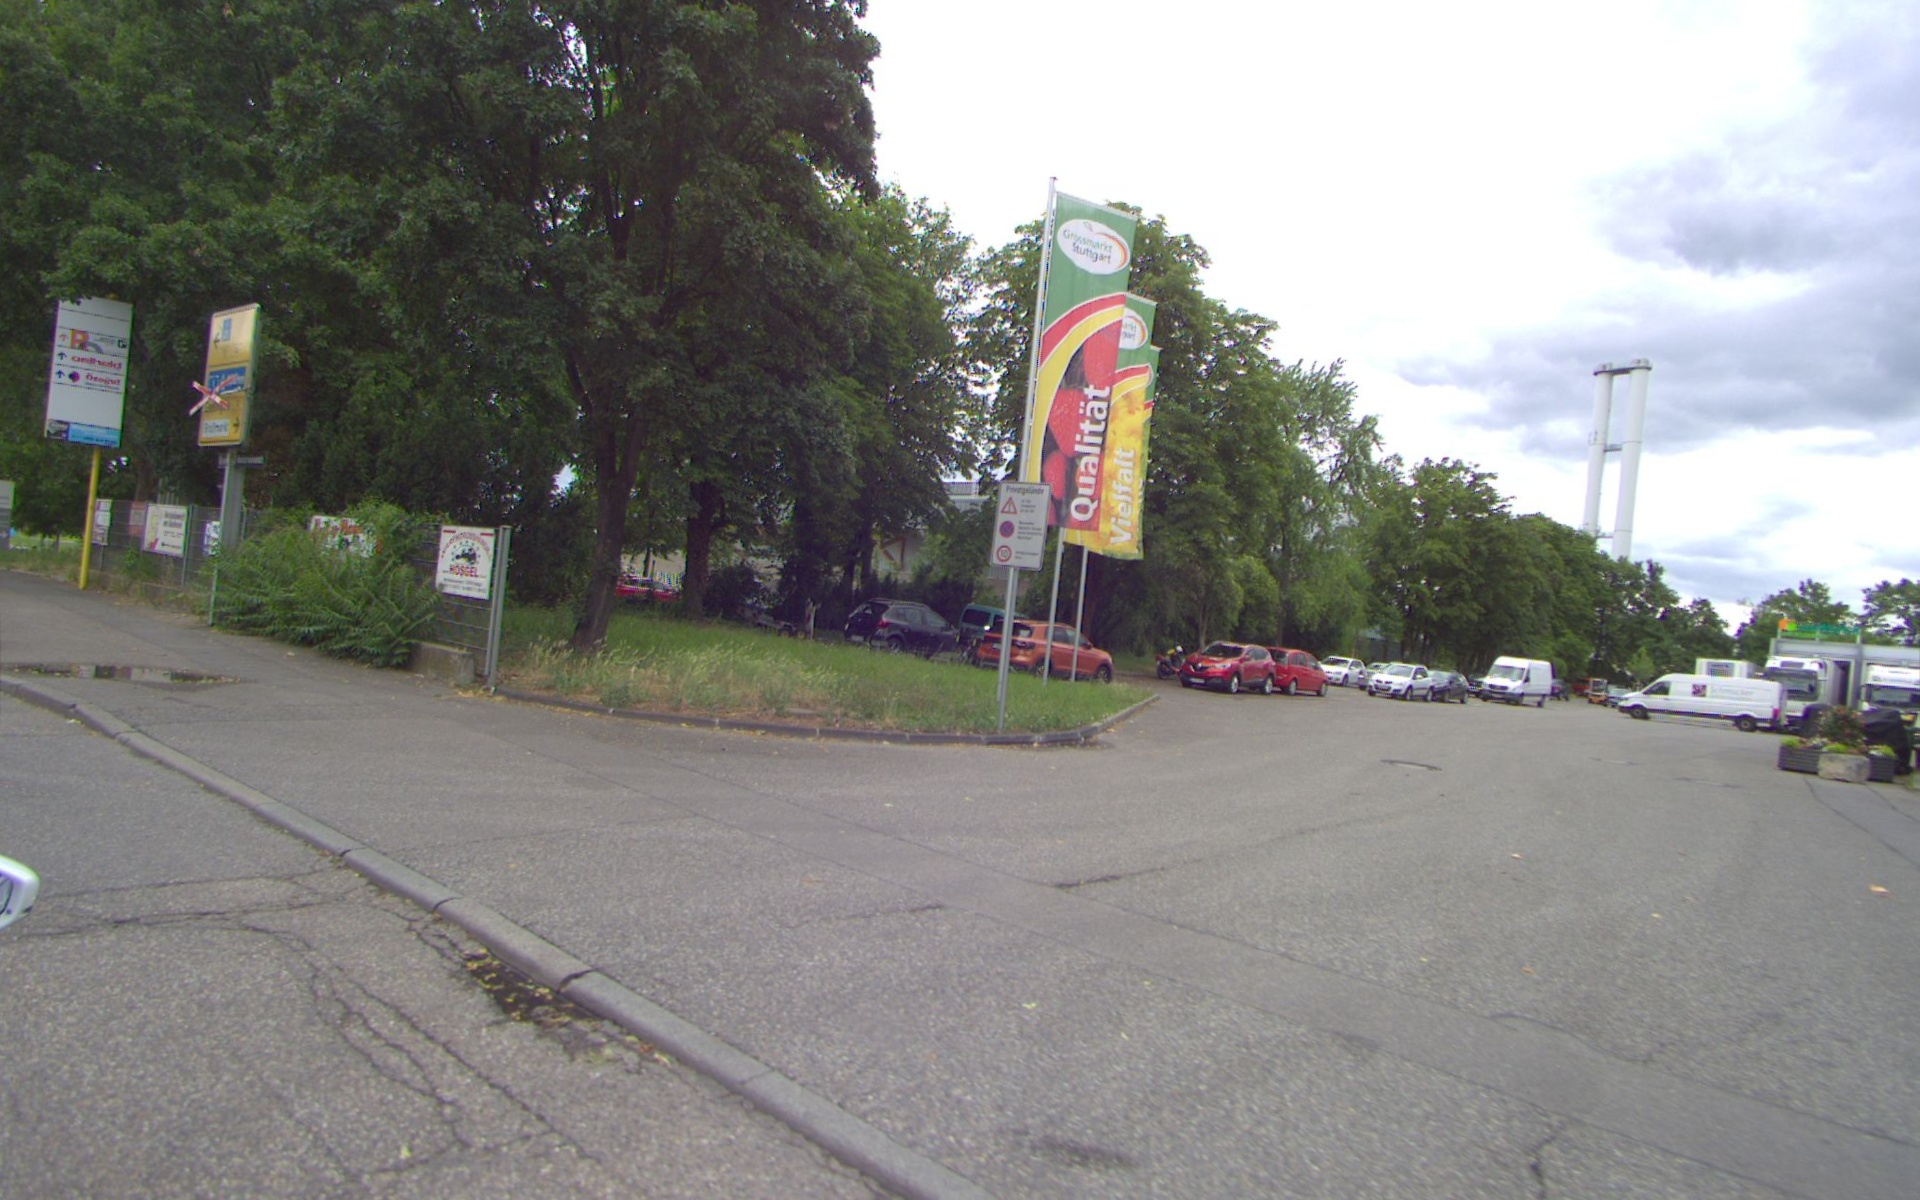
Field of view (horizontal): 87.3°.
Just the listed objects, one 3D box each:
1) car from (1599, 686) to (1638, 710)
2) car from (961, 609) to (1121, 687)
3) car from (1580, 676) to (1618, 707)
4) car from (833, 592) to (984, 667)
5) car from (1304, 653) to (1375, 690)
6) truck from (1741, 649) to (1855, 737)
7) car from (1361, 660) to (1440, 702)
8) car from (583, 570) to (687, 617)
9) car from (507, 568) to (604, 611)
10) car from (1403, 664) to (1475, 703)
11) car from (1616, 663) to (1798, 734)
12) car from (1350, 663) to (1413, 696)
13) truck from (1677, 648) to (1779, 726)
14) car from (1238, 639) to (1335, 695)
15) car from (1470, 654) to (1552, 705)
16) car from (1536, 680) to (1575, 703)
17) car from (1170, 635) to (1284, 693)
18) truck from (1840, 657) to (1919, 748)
[{"bbox_3d":[51.538,7.688,78.709,1.805,1.563,4.220,6,0,43],"label":"car"},{"bbox_3d":[2.051,1.218,24.681,1.805,1.553,3.939,6,0,42],"label":"car"},{"bbox_3d":[53.331,7.633,83.970,1.805,2.304,4.220,6,0,43],"label":"car"},{"bbox_3d":[-1.348,0.845,27.729,1.805,1.667,3.939,6,0,42],"label":"car"},{"bbox_3d":[19.421,3.668,51.385,1.805,1.563,4.220,6,0,43],"label":"car"},{"bbox_3d":[46.709,5.262,55.874,12.845,4.129,3.192,7,0,-44],"label":"truck"},{"bbox_3d":[19.455,3.597,44.378,1.805,1.563,4.220,6,0,43],"label":"car"},{"bbox_3d":[-14.472,-0.279,44.895,1.805,1.667,3.939,6,0,42],"label":"car"},{"bbox_3d":[-19.802,-0.496,49.342,1.805,1.667,3.939,6,0,42],"label":"car"},{"bbox_3d":[22.781,3.989,47.801,1.805,1.563,4.220,6,0,43],"label":"car"},{"bbox_3d":[37.689,4.926,50.941,2.681,2.585,6.876,6,0,-43],"label":"car"},{"bbox_3d":[23.543,4.447,56.152,1.805,1.563,4.220,6,0,43],"label":"car"},{"bbox_3d":[51.998,5.995,67.886,12.845,4.520,3.192,7,0,-44],"label":"truck"},{"bbox_3d":[11.936,2.462,36.670,1.805,1.705,3.939,6,0,42],"label":"car"},{"bbox_3d":[31.251,4.544,56.888,2.369,2.438,6.645,6,0,43],"label":"car"},{"bbox_3d":[48.262,7.419,81.520,1.805,1.563,4.220,6,0,43],"label":"car"},{"bbox_3d":[8.828,2.140,33.038,1.805,1.563,4.221,6,0,42],"label":"car"},{"bbox_3d":[49.532,5.481,53.170,12.845,4.011,3.192,7,0,-44],"label":"truck"}]
